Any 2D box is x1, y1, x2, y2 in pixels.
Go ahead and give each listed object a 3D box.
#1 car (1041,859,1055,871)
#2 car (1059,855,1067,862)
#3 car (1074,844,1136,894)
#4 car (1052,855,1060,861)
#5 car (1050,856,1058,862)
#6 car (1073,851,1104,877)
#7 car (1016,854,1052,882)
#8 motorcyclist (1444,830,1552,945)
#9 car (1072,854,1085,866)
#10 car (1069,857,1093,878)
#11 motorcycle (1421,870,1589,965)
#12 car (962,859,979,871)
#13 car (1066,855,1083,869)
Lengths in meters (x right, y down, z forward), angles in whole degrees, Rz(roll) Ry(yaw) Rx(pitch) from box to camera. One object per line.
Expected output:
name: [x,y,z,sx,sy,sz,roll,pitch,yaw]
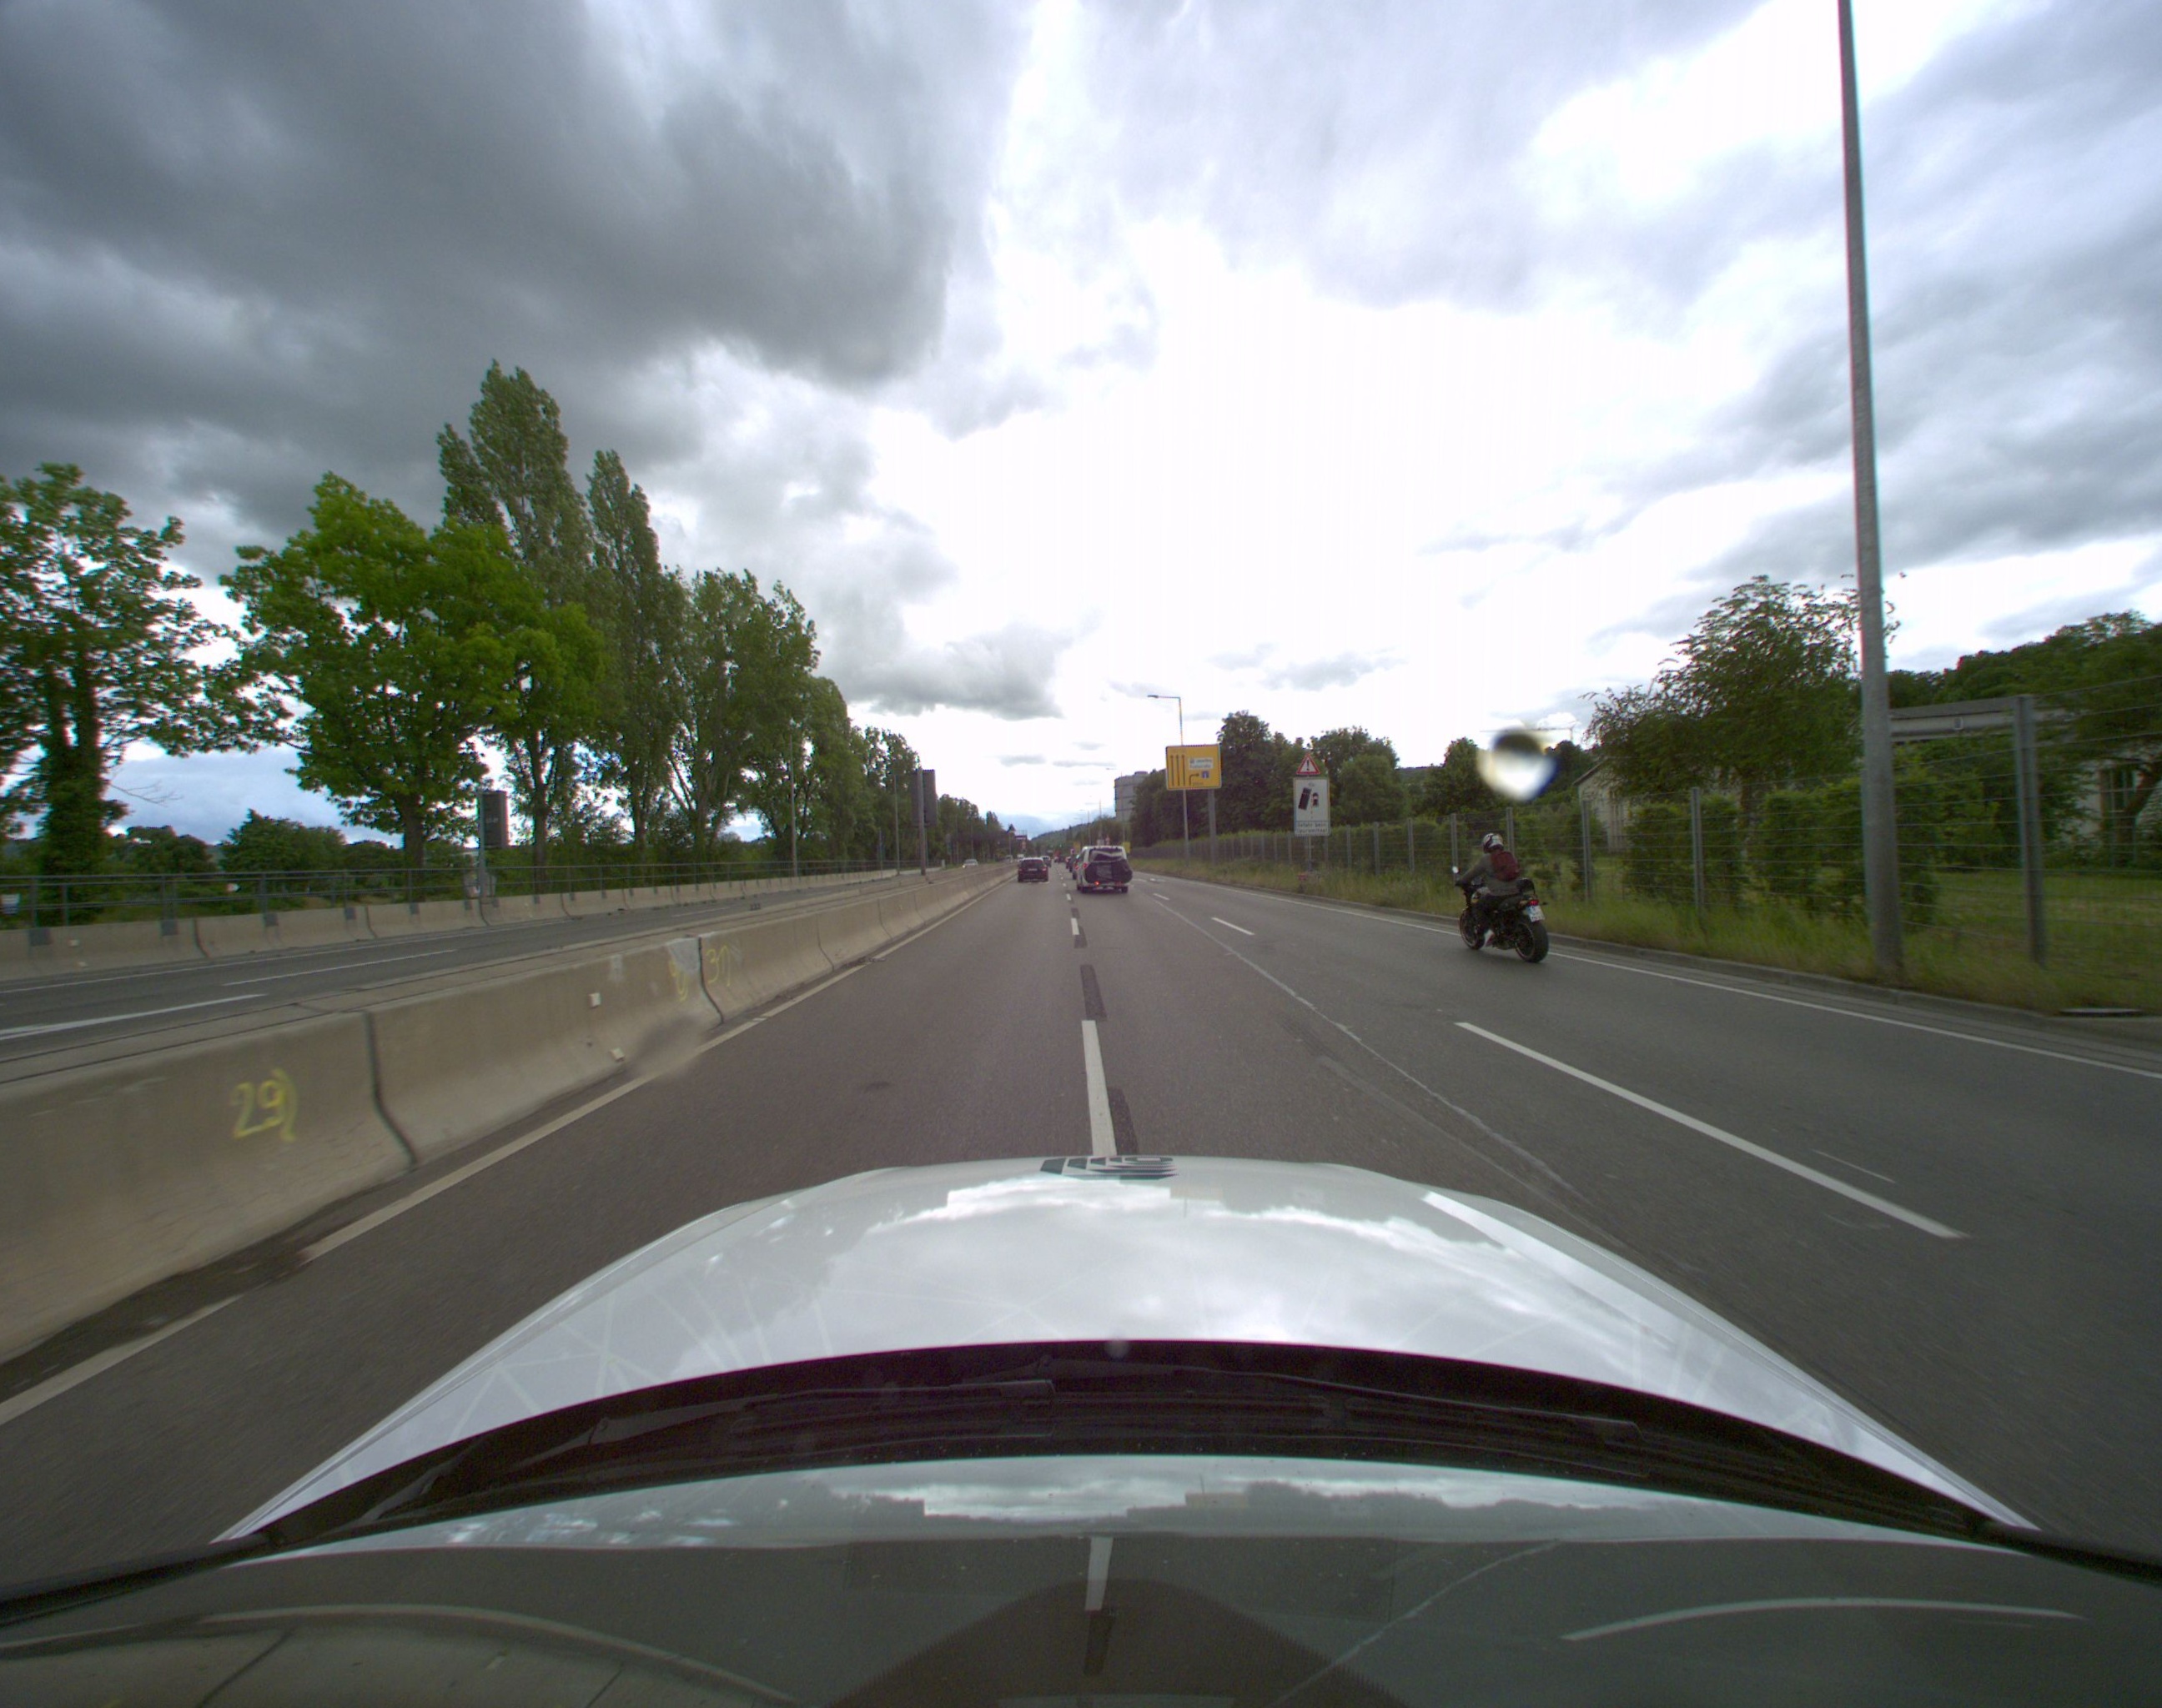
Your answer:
car: [-4.809,1.558,117.819,1.988,1.673,3.996,-1,-1,-2]
car: [-4.432,1.204,198.911,1.989,1.654,3.996,-1,0,-2]
car: [0.895,0.563,33.345,1.989,1.859,5.633,0,0,-4]
car: [-7.267,1.122,236.863,1.990,1.654,3.994,-1,0,-4]
car: [-7.042,1.243,211.328,1.989,1.654,3.996,-1,0,-2]
car: [0.446,0.621,52.251,1.915,1.489,4.064,-2,0,-1]
car: [-2.735,0.791,48.085,1.809,1.434,4.066,-3,0,1]
motorcyclist: [5.657,0.437,11.108,0.911,1.477,0.965,-2,0,-4]
car: [-0.404,0.899,124.676,1.987,1.669,3.999,-1,0,0]
car: [-0.026,1.224,74.701,1.988,1.860,3.998,-2,0,-1]
motorcycle: [5.683,0.792,11.166,0.742,1.083,2.661,-2,0,-4]
car: [-13.174,1.262,97.055,1.730,1.374,3.610,-2,0,-5]
car: [-0.733,0.943,98.648,1.987,1.669,3.999,-1,0,0]
